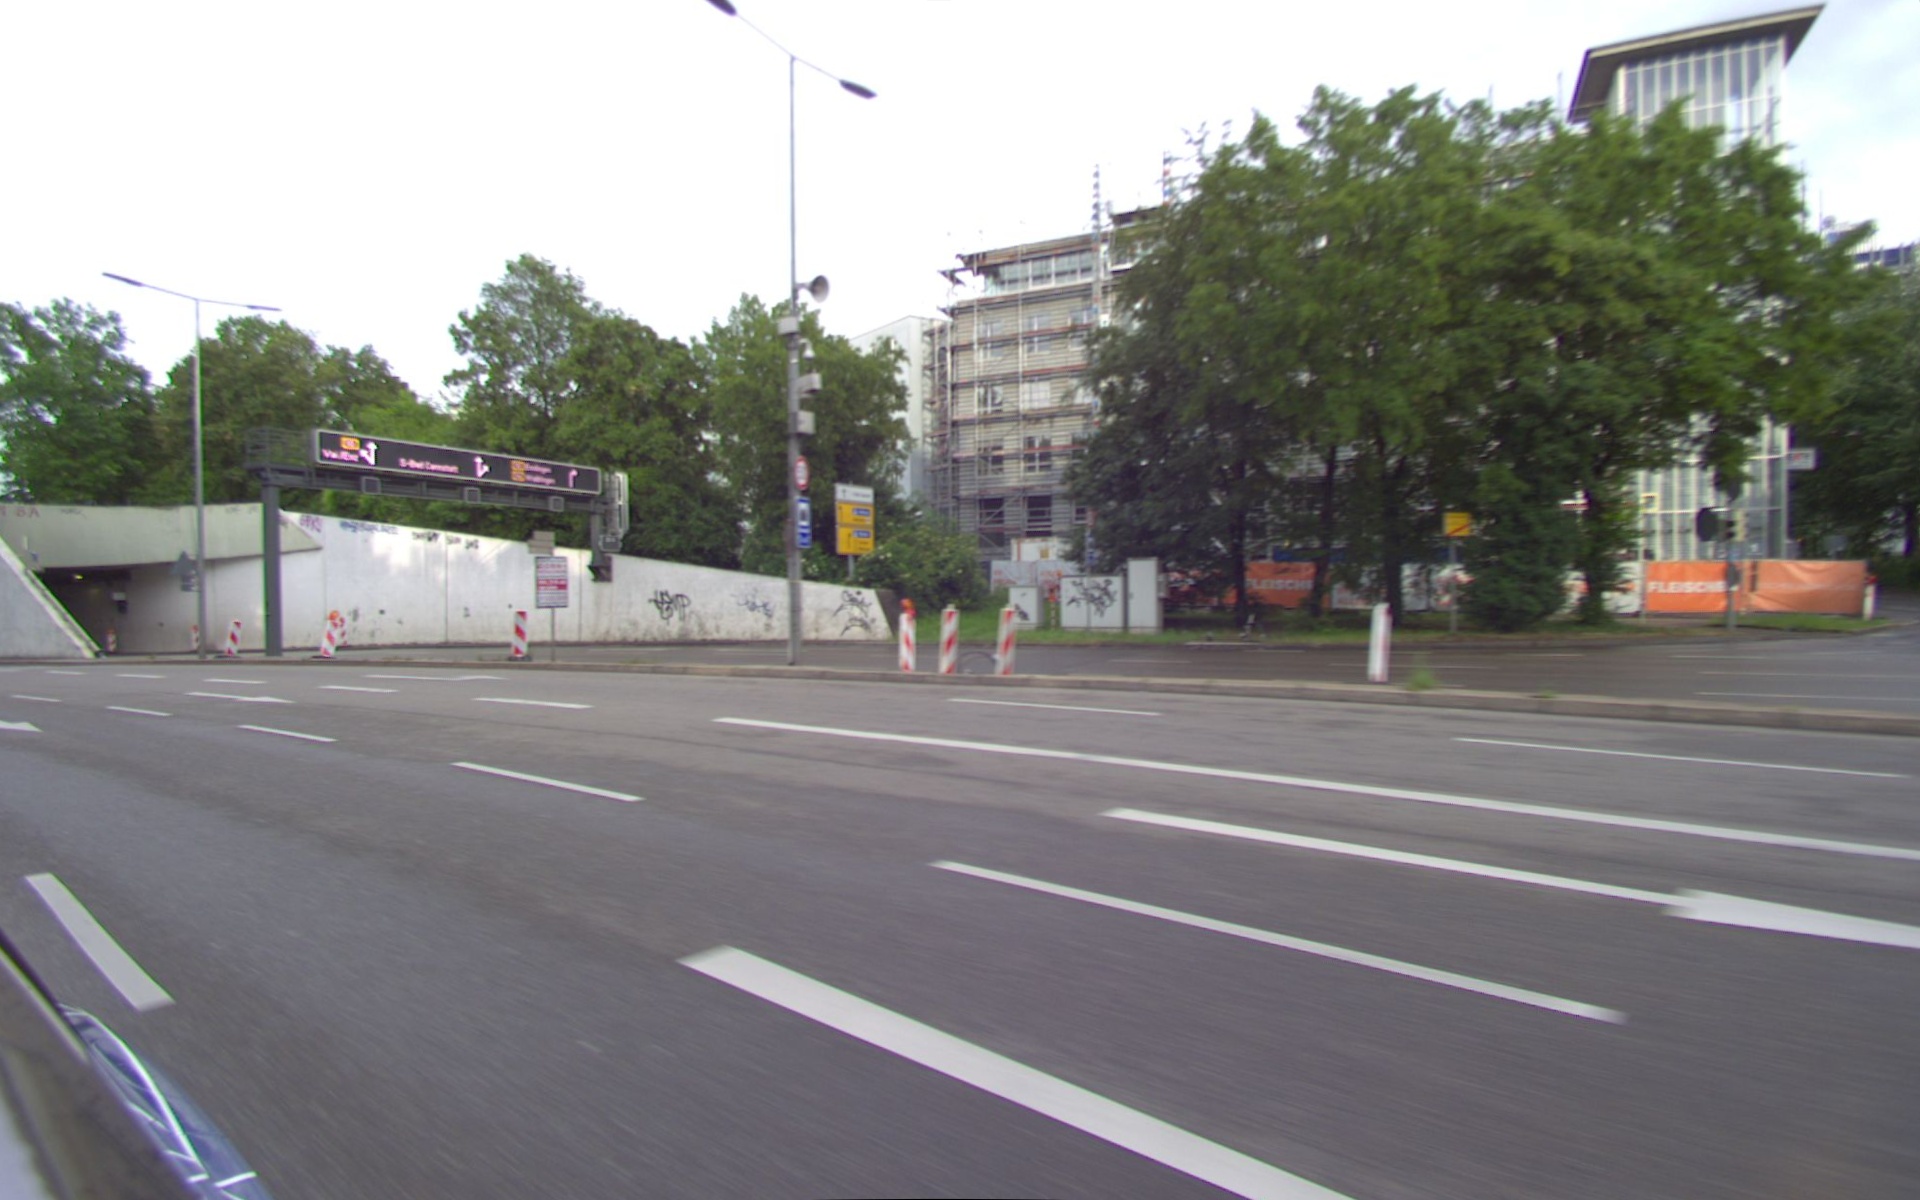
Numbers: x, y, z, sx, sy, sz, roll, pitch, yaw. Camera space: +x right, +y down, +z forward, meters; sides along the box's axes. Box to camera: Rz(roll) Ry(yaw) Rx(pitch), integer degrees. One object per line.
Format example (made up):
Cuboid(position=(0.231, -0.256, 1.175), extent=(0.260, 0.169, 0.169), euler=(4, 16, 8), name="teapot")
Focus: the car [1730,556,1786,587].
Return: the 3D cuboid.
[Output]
Cuboid(position=(45.586, -1.654, 57.893), extent=(1.801, 1.638, 3.962), euler=(-2, 2, 28), name="car")
